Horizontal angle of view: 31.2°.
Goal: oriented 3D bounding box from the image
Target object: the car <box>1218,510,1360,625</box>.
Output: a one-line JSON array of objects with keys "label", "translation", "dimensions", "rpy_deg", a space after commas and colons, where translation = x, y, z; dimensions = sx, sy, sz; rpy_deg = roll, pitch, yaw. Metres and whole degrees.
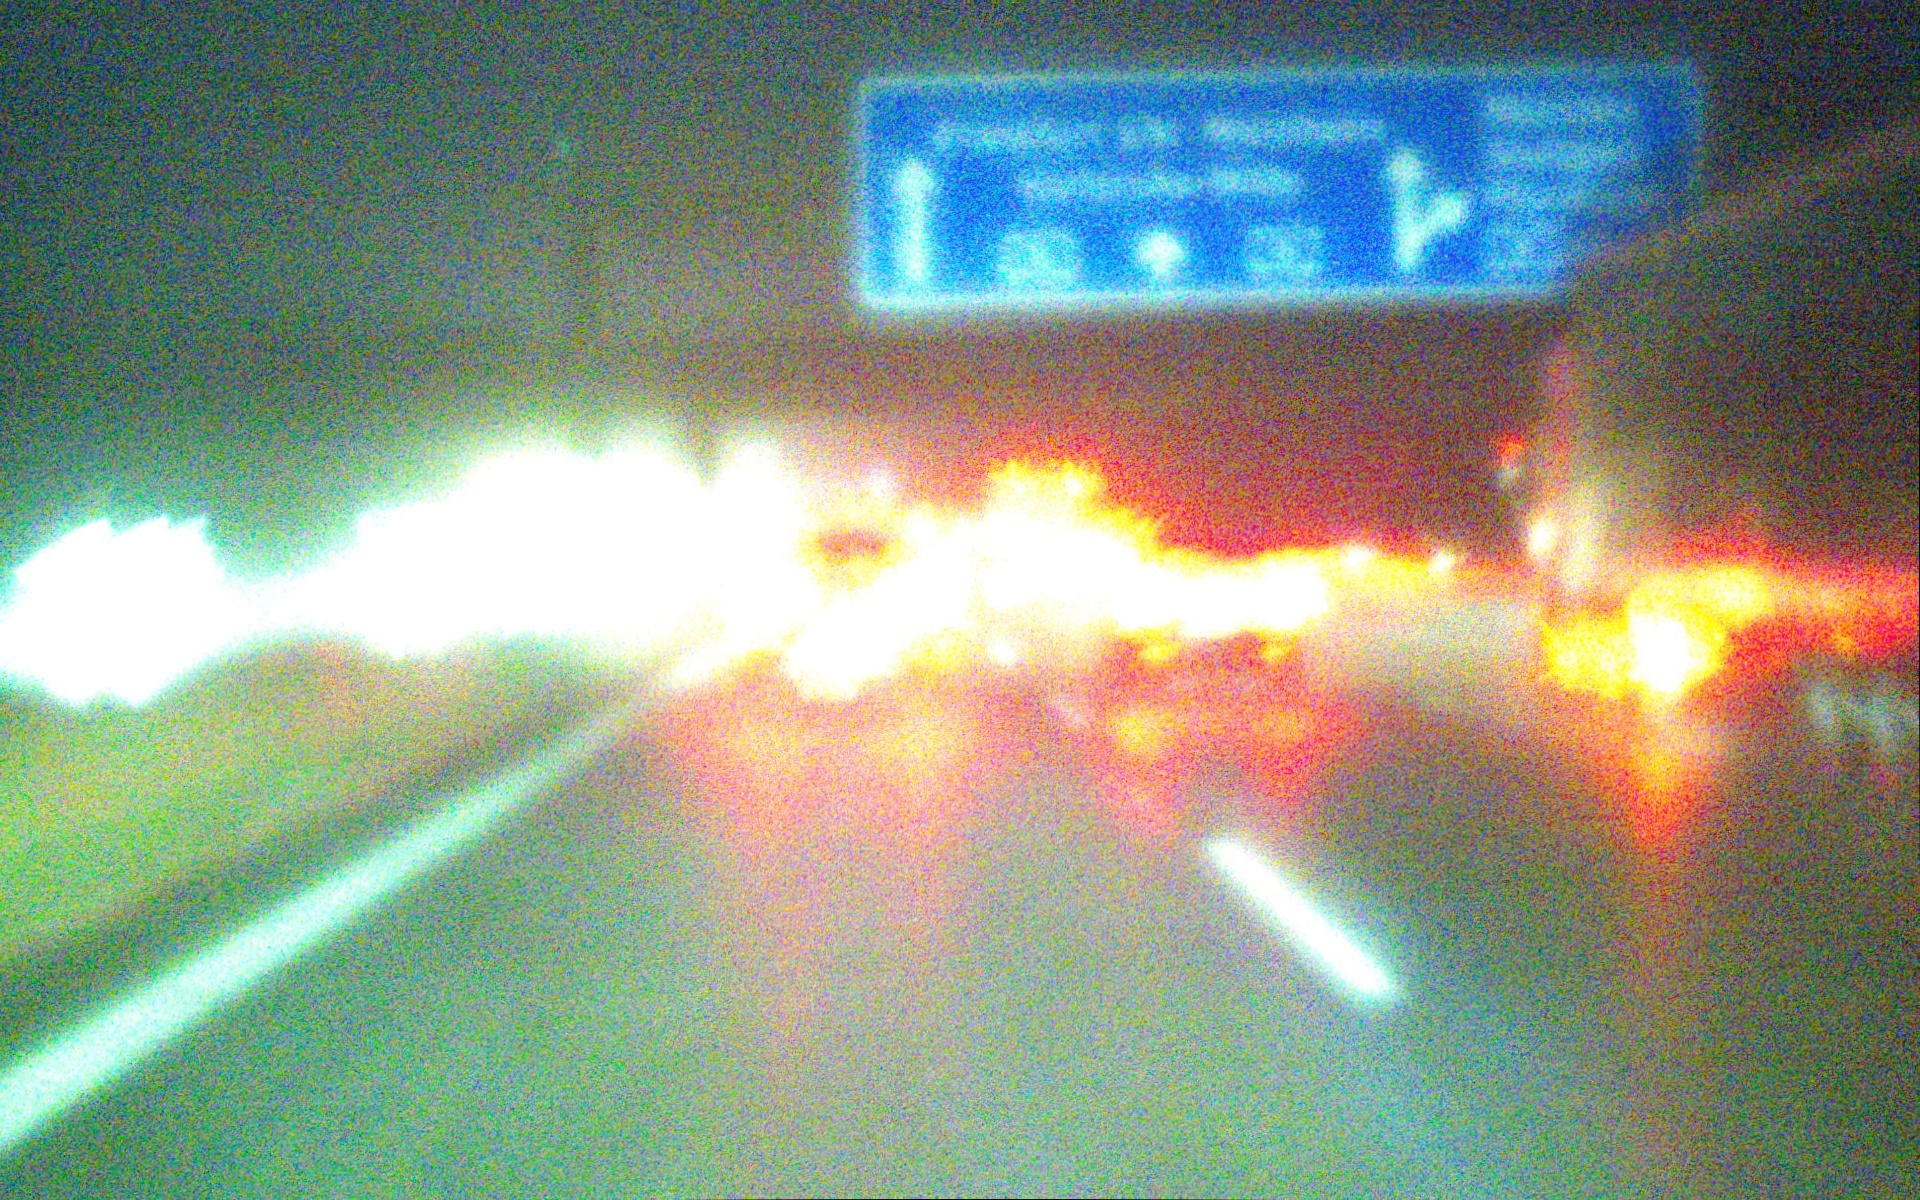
[{"label": "car", "translation": [6.030, -0.625, 63.481], "dimensions": [1.993, 2.007, 4.001], "rpy_deg": [-2, 1, -3]}]

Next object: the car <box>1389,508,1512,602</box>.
[{"label": "car", "translation": [11.136, -1.039, 78.255], "dimensions": [1.993, 2.007, 4.001], "rpy_deg": [-2, 1, -3]}]

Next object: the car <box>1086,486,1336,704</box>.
[{"label": "car", "translation": [2.459, -0.094, 34.654], "dimensions": [1.993, 2.007, 4.001], "rpy_deg": [-2, 1, -3]}]

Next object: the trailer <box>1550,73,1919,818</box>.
[{"label": "trailer", "translation": [6.745, -0.957, 22.576], "dimensions": [3.041, 4.094, 13.830], "rpy_deg": [-2, 1, -1]}]

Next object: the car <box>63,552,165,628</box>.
[{"label": "car", "translation": [-23.701, -0.310, 96.420], "dimensions": [1.993, 2.007, 4.001], "rpy_deg": [-2, 1, -3]}]

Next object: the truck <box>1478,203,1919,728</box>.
[{"label": "truck", "translation": [6.605, -1.139, 30.202], "dimensions": [3.041, 4.094, 5.799], "rpy_deg": [-2, 1, -1]}]

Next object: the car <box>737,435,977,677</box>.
[{"label": "car", "translation": [-0.912, -0.411, 31.034], "dimensions": [1.993, 2.007, 4.000], "rpy_deg": [1, 1, -1]}]

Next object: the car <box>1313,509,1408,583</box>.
[{"label": "car", "translation": [11.424, -1.545, 98.283], "dimensions": [1.993, 2.007, 4.001], "rpy_deg": [-2, 1, -3]}]

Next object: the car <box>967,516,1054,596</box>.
[{"label": "car", "translation": [1.314, -1.178, 90.631], "dimensions": [1.993, 2.007, 4.001], "rpy_deg": [-2, 1, -3]}]

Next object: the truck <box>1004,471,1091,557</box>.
[{"label": "truck", "translation": [3.542, -3.532, 141.666], "dimensions": [3.037, 3.286, 11.382], "rpy_deg": [-2, 1, -1]}]
